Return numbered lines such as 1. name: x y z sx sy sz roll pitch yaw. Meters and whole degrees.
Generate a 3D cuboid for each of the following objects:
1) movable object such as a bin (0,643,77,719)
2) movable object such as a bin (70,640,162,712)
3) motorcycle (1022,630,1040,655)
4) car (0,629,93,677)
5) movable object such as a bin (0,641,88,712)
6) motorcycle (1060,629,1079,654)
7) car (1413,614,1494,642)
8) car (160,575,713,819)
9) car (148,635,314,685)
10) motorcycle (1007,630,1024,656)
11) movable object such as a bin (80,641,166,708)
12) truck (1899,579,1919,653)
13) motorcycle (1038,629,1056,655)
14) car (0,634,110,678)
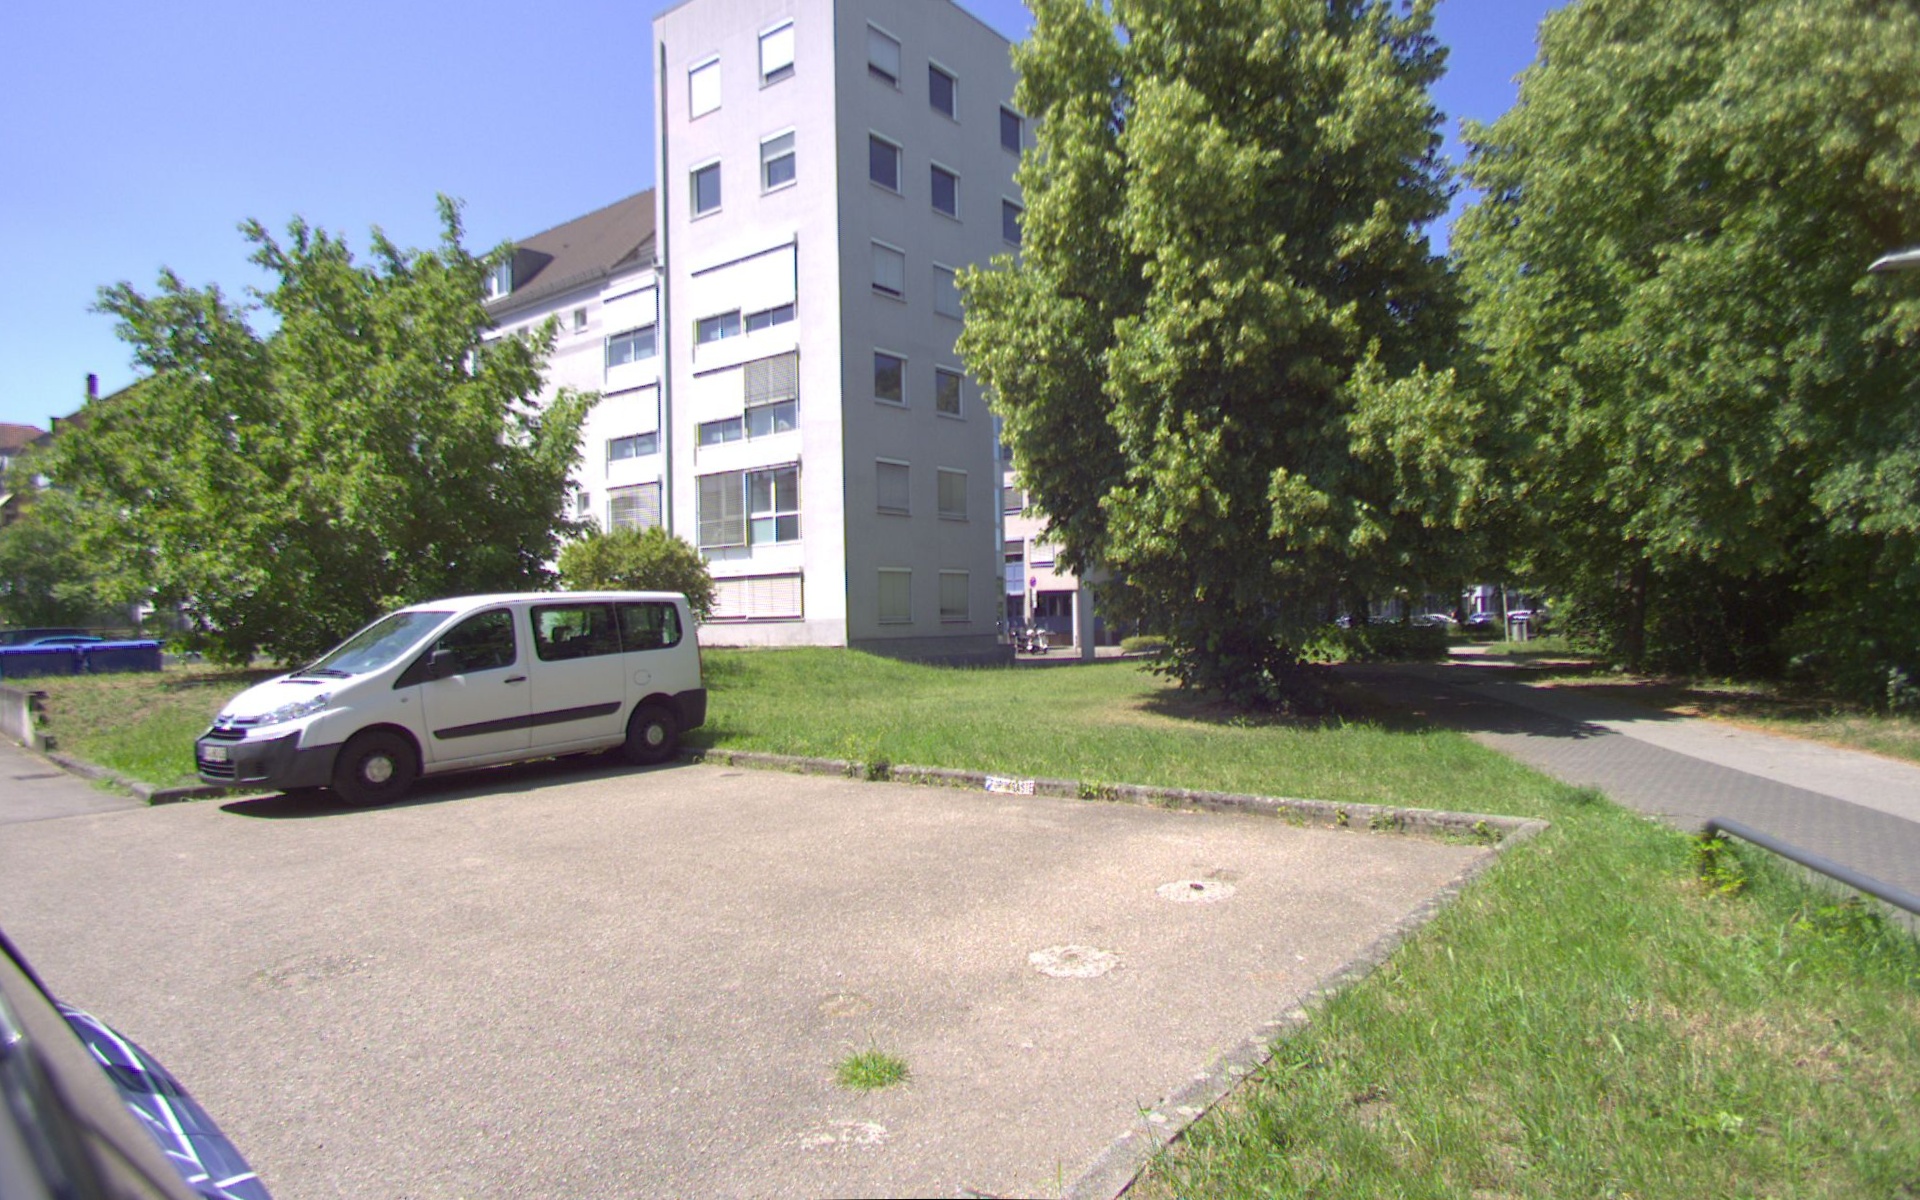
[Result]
1. movable object such as a bin: -17.658 1.518 19.175 1.103 1.338 1.241 -3 -1 40
2. movable object such as a bin: -16.830 1.486 20.186 1.103 1.338 1.241 -3 -1 40
3. motorcycle: 3.480 2.072 49.629 0.690 1.176 2.310 -1 -1 1
4. car: -38.592 2.173 41.447 1.997 1.846 4.395 -2 -1 37
5. movable object such as a bin: -18.733 1.540 20.663 1.103 1.338 1.241 -3 -1 40
6. motorcycle: 5.333 2.003 49.457 0.690 1.176 2.332 -1 -1 1
7. car: 24.291 1.390 49.923 3.481 1.253 1.737 -2 -1 26
8. car: -5.091 0.843 10.543 1.996 1.926 4.746 -3 -3 35
9. car: -23.060 1.871 32.140 1.708 1.447 3.950 -2 -2 36
10. motorcycle: 2.715 2.094 49.493 0.690 1.176 2.302 -1 -1 1
11. movable object such as a bin: -17.934 1.568 21.685 1.103 1.338 1.241 -3 -1 40
12. truck: 27.914 0.396 26.742 4.457 2.009 1.972 -1 -1 42
13. motorcycle: 4.240 2.048 49.613 0.690 1.176 2.332 -1 -1 1
14. car: -36.324 2.187 39.792 1.855 1.565 4.120 -2 -2 35
